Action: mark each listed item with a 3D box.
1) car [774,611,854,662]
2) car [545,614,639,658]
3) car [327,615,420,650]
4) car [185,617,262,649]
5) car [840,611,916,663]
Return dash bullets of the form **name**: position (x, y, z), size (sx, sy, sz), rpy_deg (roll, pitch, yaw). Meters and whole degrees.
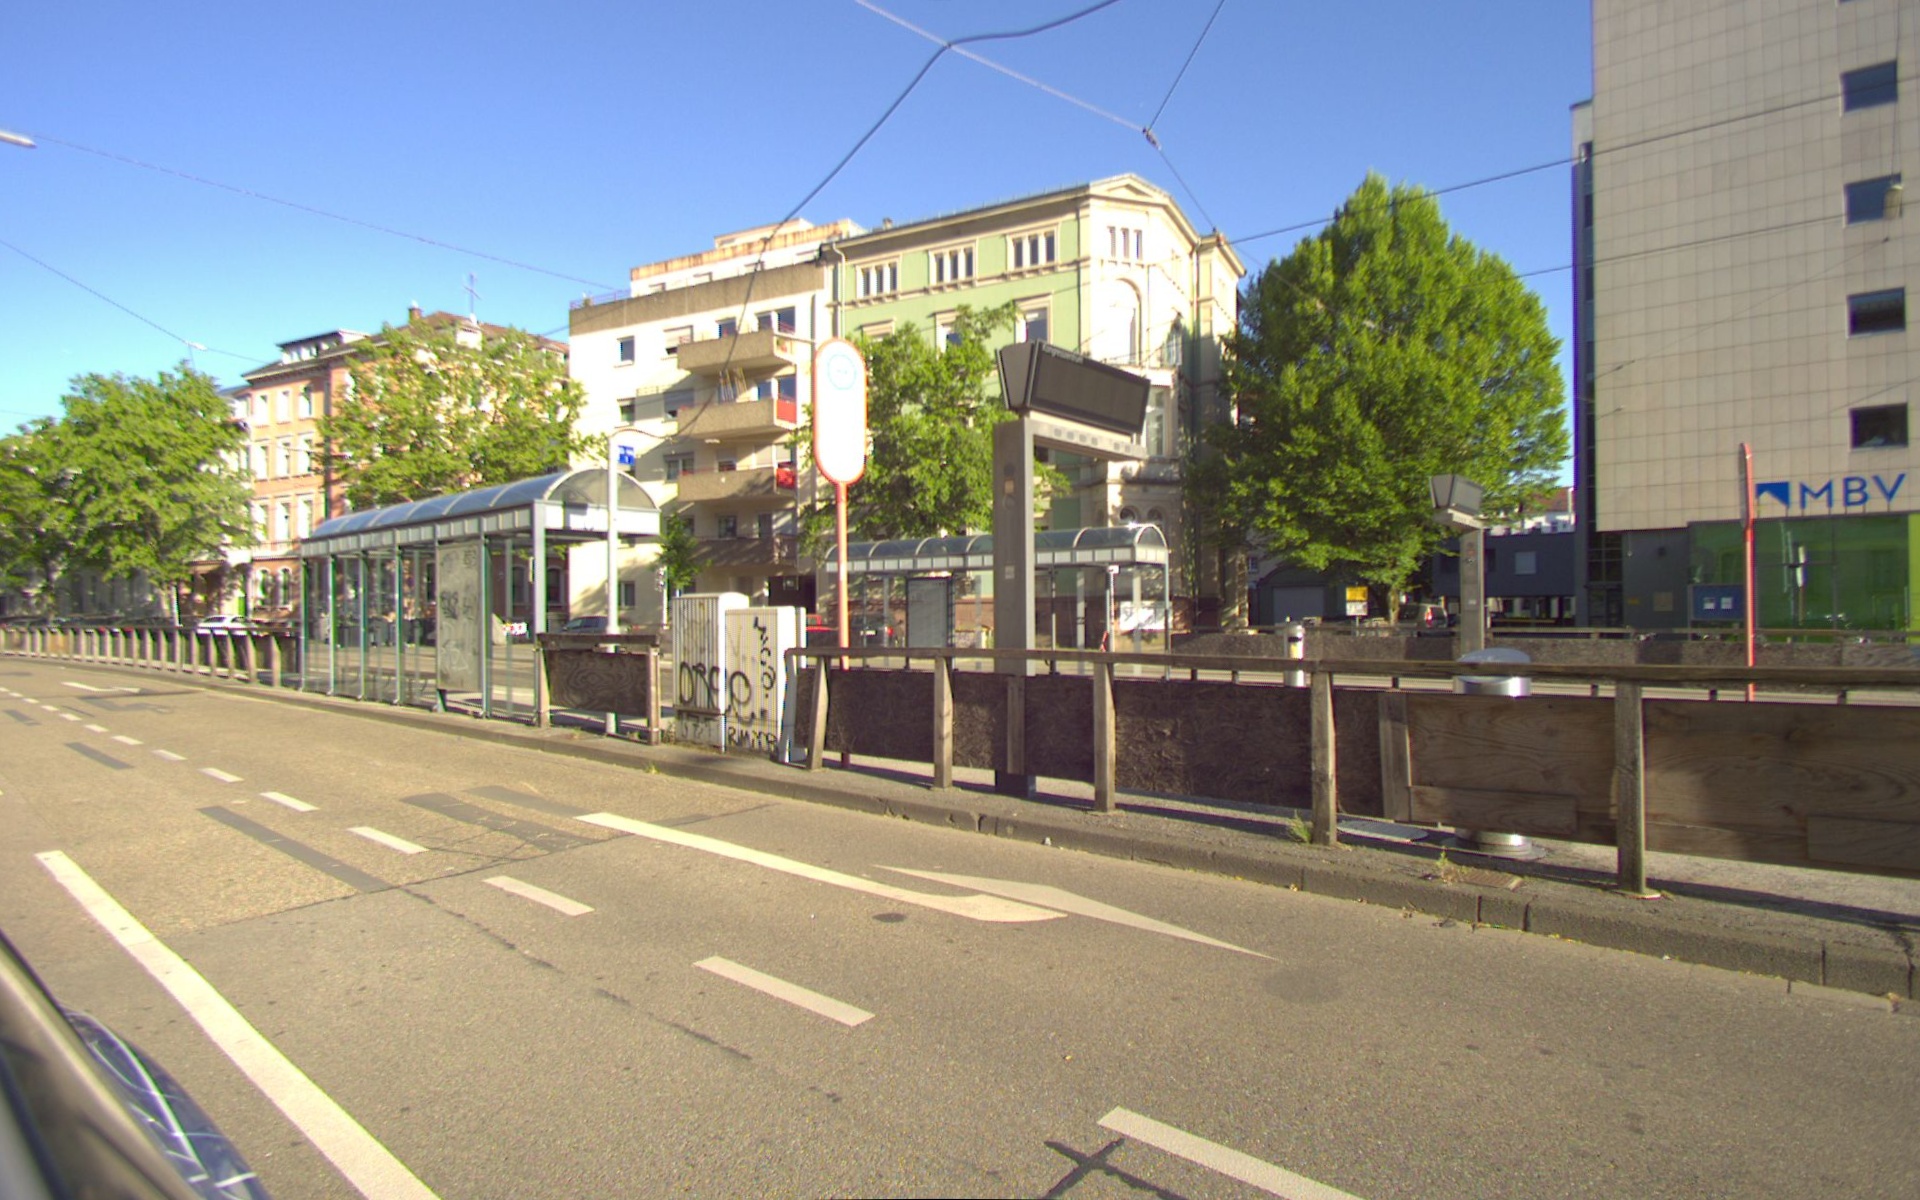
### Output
- **car**: position (-4.921, 1.210, 34.578), size (1.614, 1.579, 3.588), rpy_deg (-1, 0, 11)
- **car**: position (-14.033, 1.328, 38.531), size (3.592, 1.579, 1.612), rpy_deg (-1, 0, 35)
- **car**: position (-28.397, 1.553, 49.070), size (1.626, 1.579, 3.560), rpy_deg (-1, 0, 33)
- **car**: position (-39.397, 1.733, 54.229), size (1.607, 1.579, 3.601), rpy_deg (-1, 0, -2)
- **car**: position (-2.648, 1.181, 33.382), size (1.614, 1.579, 3.588), rpy_deg (-1, 0, 11)
